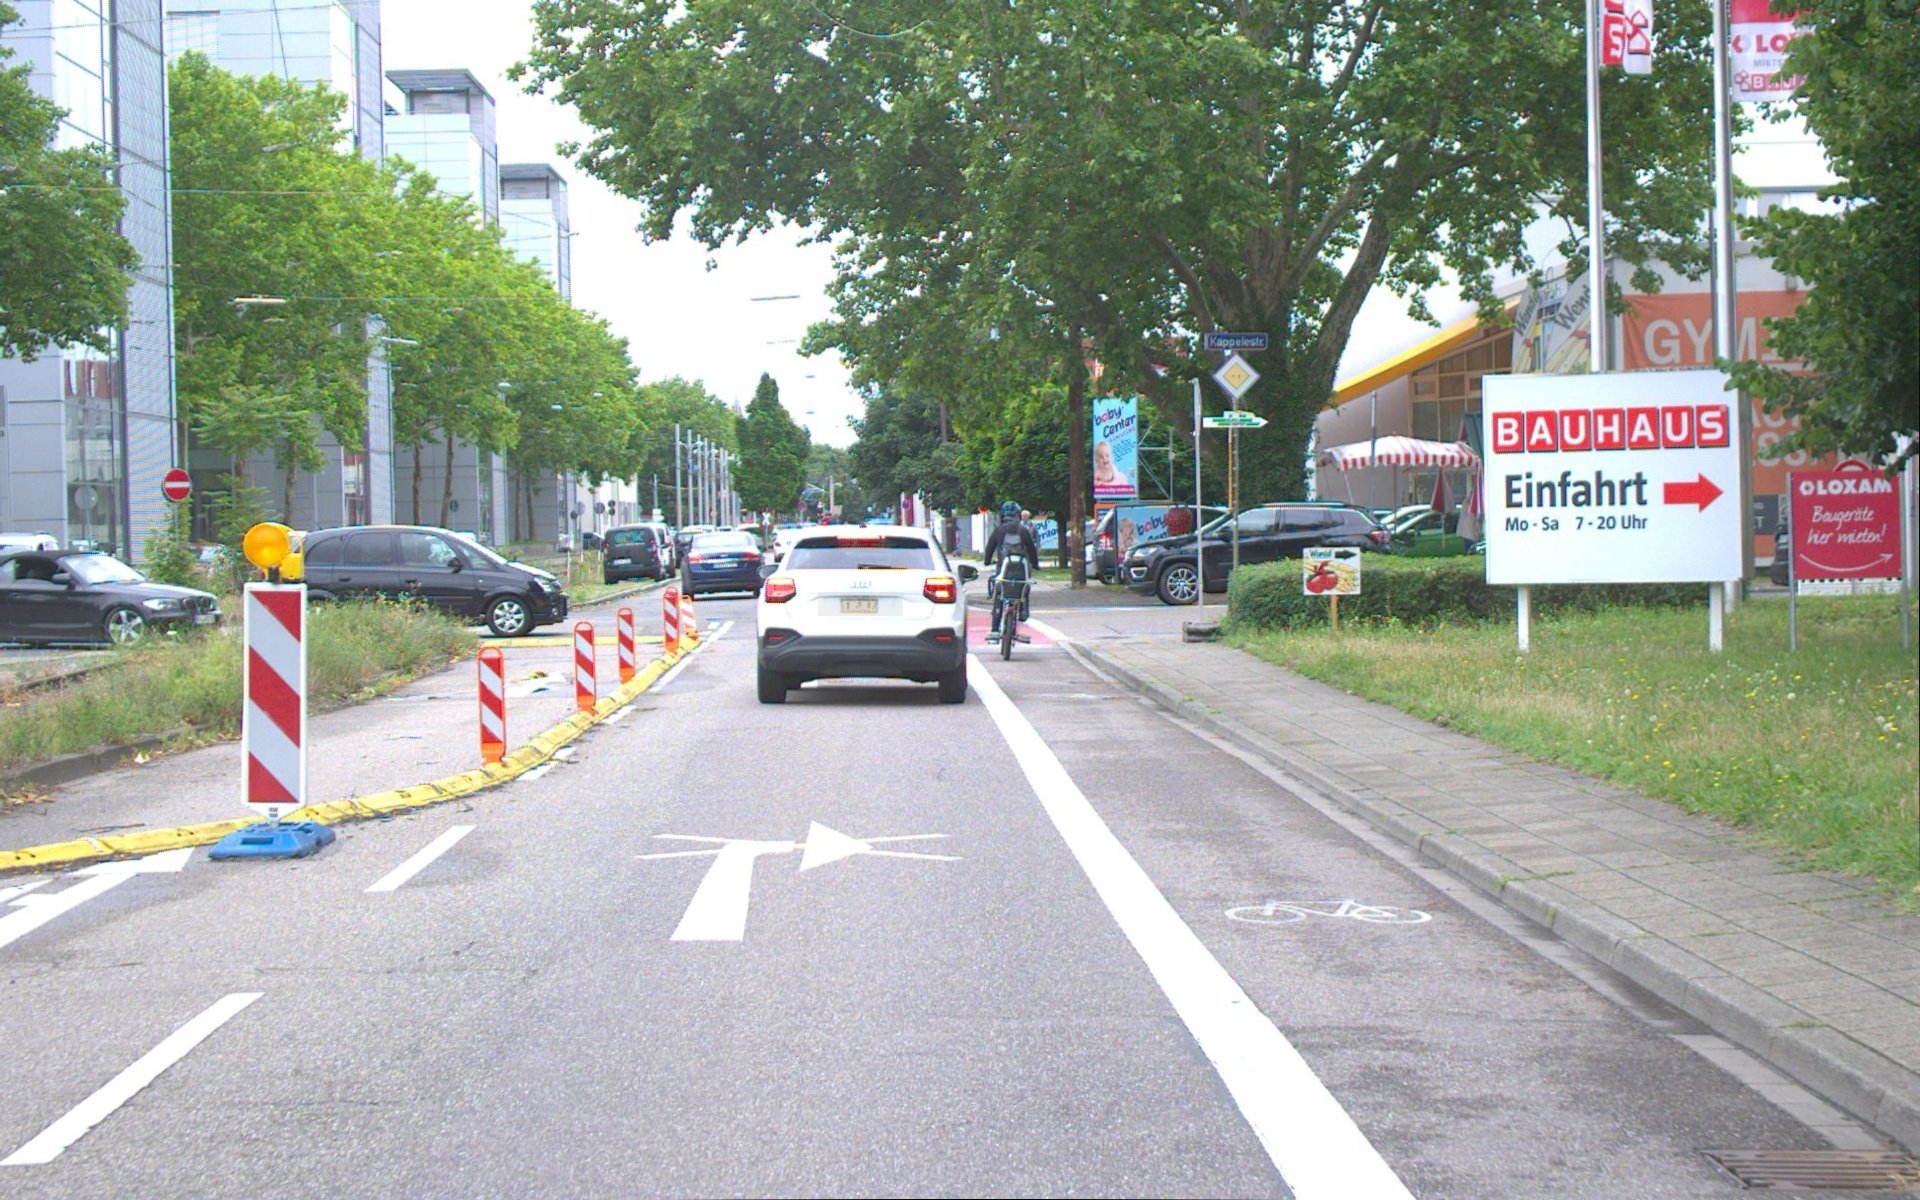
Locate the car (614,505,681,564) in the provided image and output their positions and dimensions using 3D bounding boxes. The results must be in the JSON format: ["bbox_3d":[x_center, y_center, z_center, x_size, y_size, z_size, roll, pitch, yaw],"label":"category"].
[{"bbox_3d":[-9.881,-2.087,108.889,1.877,1.757,4.001,-2,2,-3],"label":"car"}]

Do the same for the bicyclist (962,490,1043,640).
[{"bbox_3d":[0.466,-0.400,38.263,0.816,1.624,1.235,-2,1,-1],"label":"bicyclist"}]

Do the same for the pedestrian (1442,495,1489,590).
[{"bbox_3d":[9.271,-1.057,63.057,0.679,1.699,0.598,-2,1,-3],"label":"pedestrian"}]

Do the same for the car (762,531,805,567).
[{"bbox_3d":[-7.777,-2.241,150.971,1.795,1.508,3.707,0,2,-4],"label":"car"}]

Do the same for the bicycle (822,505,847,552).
[{"bbox_3d":[-3.762,-2.152,103.110,0.670,1.389,2.167,0,2,-4],"label":"bicycle"}]

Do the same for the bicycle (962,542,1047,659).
[{"bbox_3d":[0.479,-0.017,38.275,0.816,1.208,2.683,-2,1,-1],"label":"bicycle"}]

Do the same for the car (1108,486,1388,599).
[{"bbox_3d":[4.629,-0.941,55.751,4.314,1.671,1.993,-2,1,-1],"label":"car"}]

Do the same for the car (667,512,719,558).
[{"bbox_3d":[-10.648,-2.606,137.281,1.877,1.757,4.001,-2,2,-3],"label":"car"}]

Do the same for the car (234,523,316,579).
[{"bbox_3d":[-21.306,-1.552,107.058,1.877,1.626,4.206,-2,2,-3],"label":"car"}]

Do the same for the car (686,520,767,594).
[{"bbox_3d":[-5.017,-0.934,73.498,1.684,1.508,3.707,0,2,-4],"label":"car"}]

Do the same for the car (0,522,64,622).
[{"bbox_3d":[-17.909,-0.528,63.604,1.819,1.777,4.427,-2,1,-5],"label":"car"}]

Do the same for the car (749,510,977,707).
[{"bbox_3d":[-0.911,0.022,30.283,1.823,1.594,3.777,0,2,-4],"label":"car"}]

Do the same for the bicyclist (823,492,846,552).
[{"bbox_3d":[-3.770,-2.343,103.193,0.670,1.809,0.760,0,2,-4],"label":"bicyclist"}]

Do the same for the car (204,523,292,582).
[{"bbox_3d":[-20.904,-1.415,101.070,1.877,1.626,4.001,-2,2,-3],"label":"car"}]

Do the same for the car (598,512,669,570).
[{"bbox_3d":[-9.773,-1.789,103.078,1.877,1.626,4.001,-2,2,-3],"label":"car"}]

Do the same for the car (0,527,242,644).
[{"bbox_3d":[-12.228,-0.177,47.577,4.121,1.470,1.823,-2,0,21],"label":"car"}]

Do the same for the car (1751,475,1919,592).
[{"bbox_3d":[13.733,-0.986,48.656,4.553,1.566,1.993,-2,1,-1],"label":"car"}]

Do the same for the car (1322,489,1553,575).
[{"bbox_3d":[9.448,-1.350,68.170,4.212,1.546,1.790,-2,1,-4],"label":"car"}]

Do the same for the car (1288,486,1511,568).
[{"bbox_3d":[8.958,-1.494,70.303,4.212,1.546,1.790,-2,1,-4],"label":"car"}]

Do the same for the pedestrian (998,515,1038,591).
[{"bbox_3d":[1.320,-1.066,78.097,0.760,1.699,0.682,-2,1,-6],"label":"pedestrian"}]

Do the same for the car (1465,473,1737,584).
[{"bbox_3d":[10.486,-1.182,56.511,4.214,1.671,1.992,-2,1,6],"label":"car"}]

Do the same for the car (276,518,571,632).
[{"bbox_3d":[-7.493,-0.358,48.280,3.883,1.550,1.826,0,1,-2],"label":"car"}]
